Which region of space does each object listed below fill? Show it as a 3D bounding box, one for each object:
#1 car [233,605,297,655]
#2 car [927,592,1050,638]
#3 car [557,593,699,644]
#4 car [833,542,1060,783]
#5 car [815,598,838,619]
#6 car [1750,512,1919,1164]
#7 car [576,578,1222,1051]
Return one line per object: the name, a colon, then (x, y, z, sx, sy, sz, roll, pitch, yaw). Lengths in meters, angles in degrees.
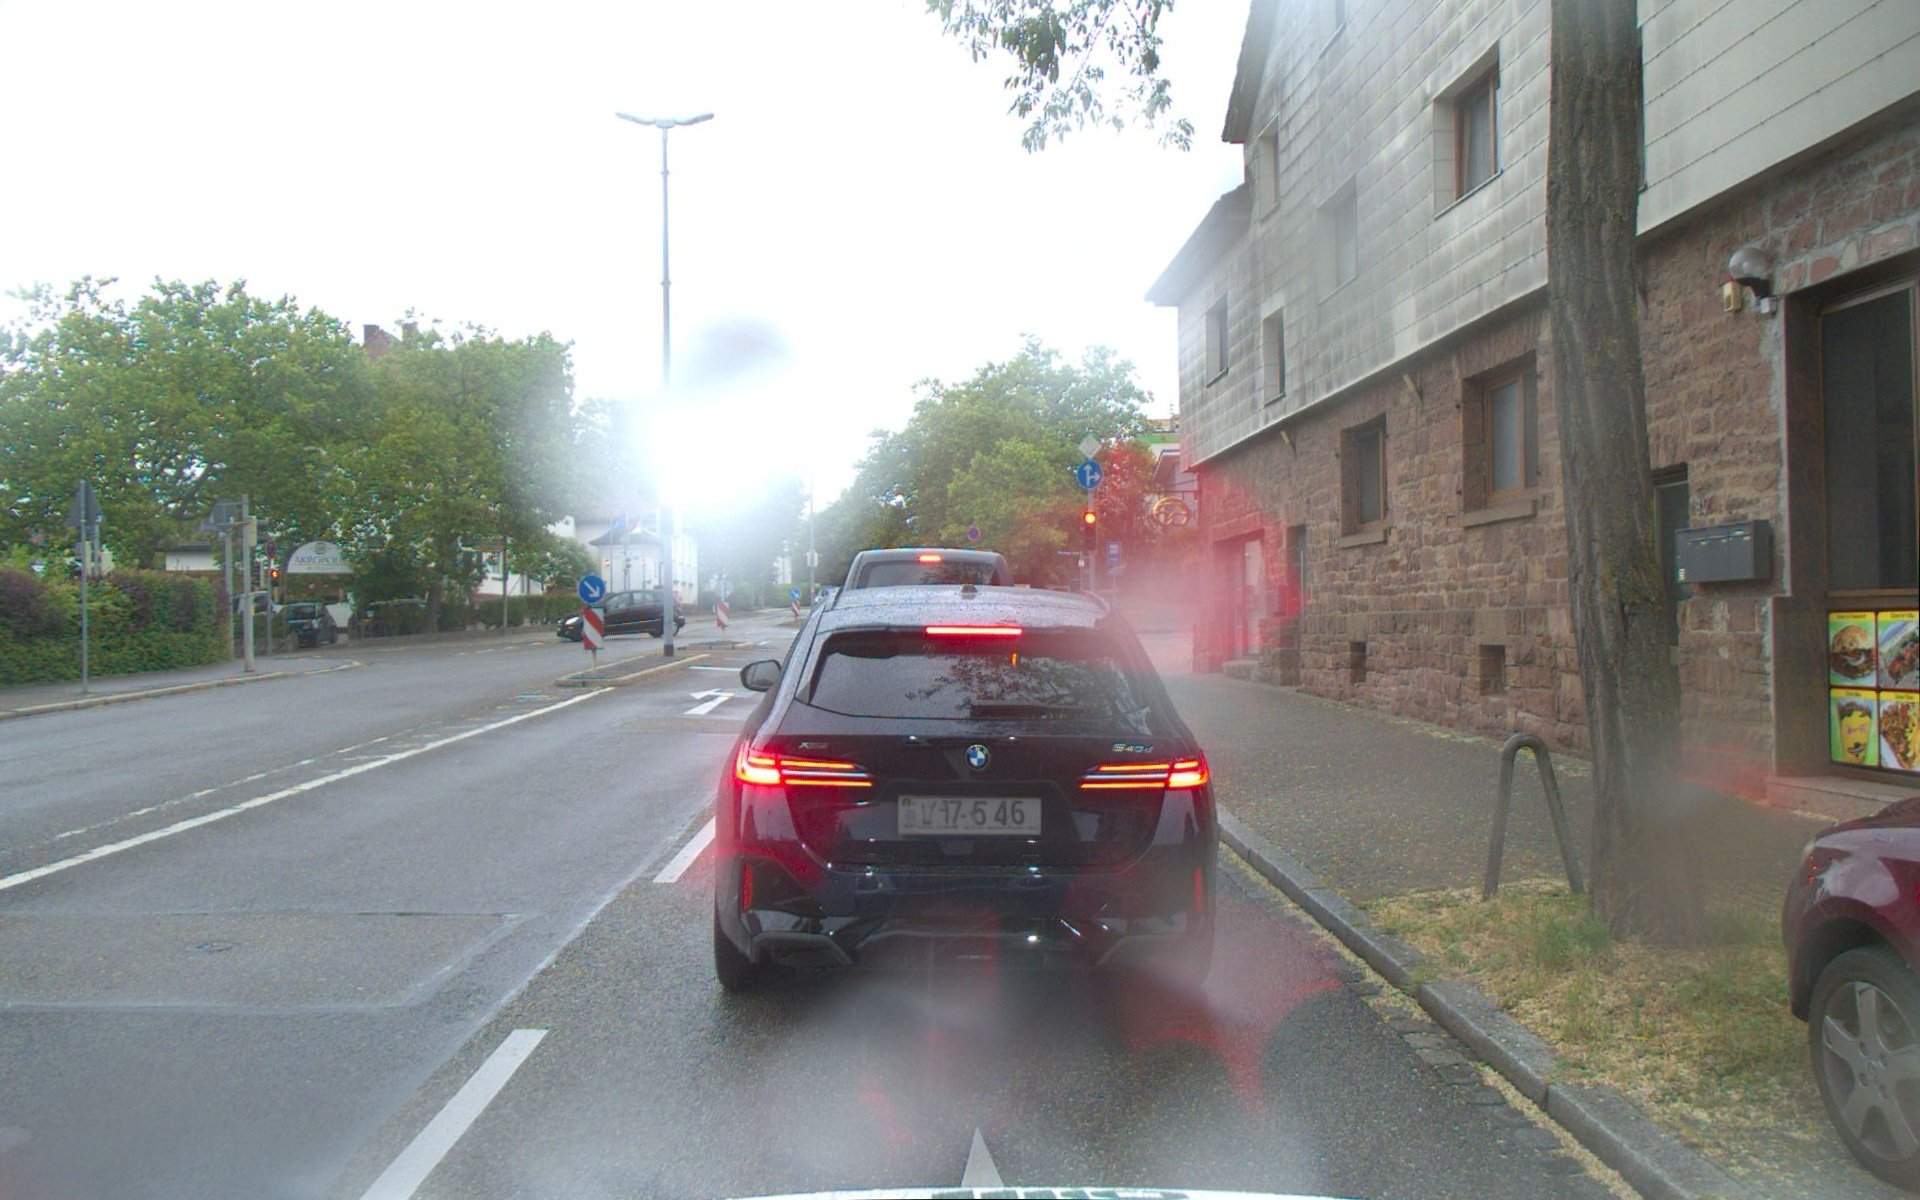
car: (-23.800, 1.001, 56.729, 1.966, 1.579, 3.973, 0, 1, -22)
car: (0.998, 0.501, 57.680, 3.904, 1.536, 1.978, 0, 1, -32)
car: (-11.049, 0.607, 55.003, 4.402, 1.614, 2.059, 1, 0, -20)
car: (-0.200, 0.459, 14.738, 1.748, 1.849, 3.998, 0, 1, -3)
car: (-9.472, 0.576, 117.524, 1.435, 1.422, 3.321, 0, 1, -1)
car: (3.048, 0.528, 2.688, 1.553, 1.516, 3.625, -3, 1, -4)
car: (-0.304, 0.672, 7.455, 2.023, 1.472, 4.480, 1, 0, -3)
